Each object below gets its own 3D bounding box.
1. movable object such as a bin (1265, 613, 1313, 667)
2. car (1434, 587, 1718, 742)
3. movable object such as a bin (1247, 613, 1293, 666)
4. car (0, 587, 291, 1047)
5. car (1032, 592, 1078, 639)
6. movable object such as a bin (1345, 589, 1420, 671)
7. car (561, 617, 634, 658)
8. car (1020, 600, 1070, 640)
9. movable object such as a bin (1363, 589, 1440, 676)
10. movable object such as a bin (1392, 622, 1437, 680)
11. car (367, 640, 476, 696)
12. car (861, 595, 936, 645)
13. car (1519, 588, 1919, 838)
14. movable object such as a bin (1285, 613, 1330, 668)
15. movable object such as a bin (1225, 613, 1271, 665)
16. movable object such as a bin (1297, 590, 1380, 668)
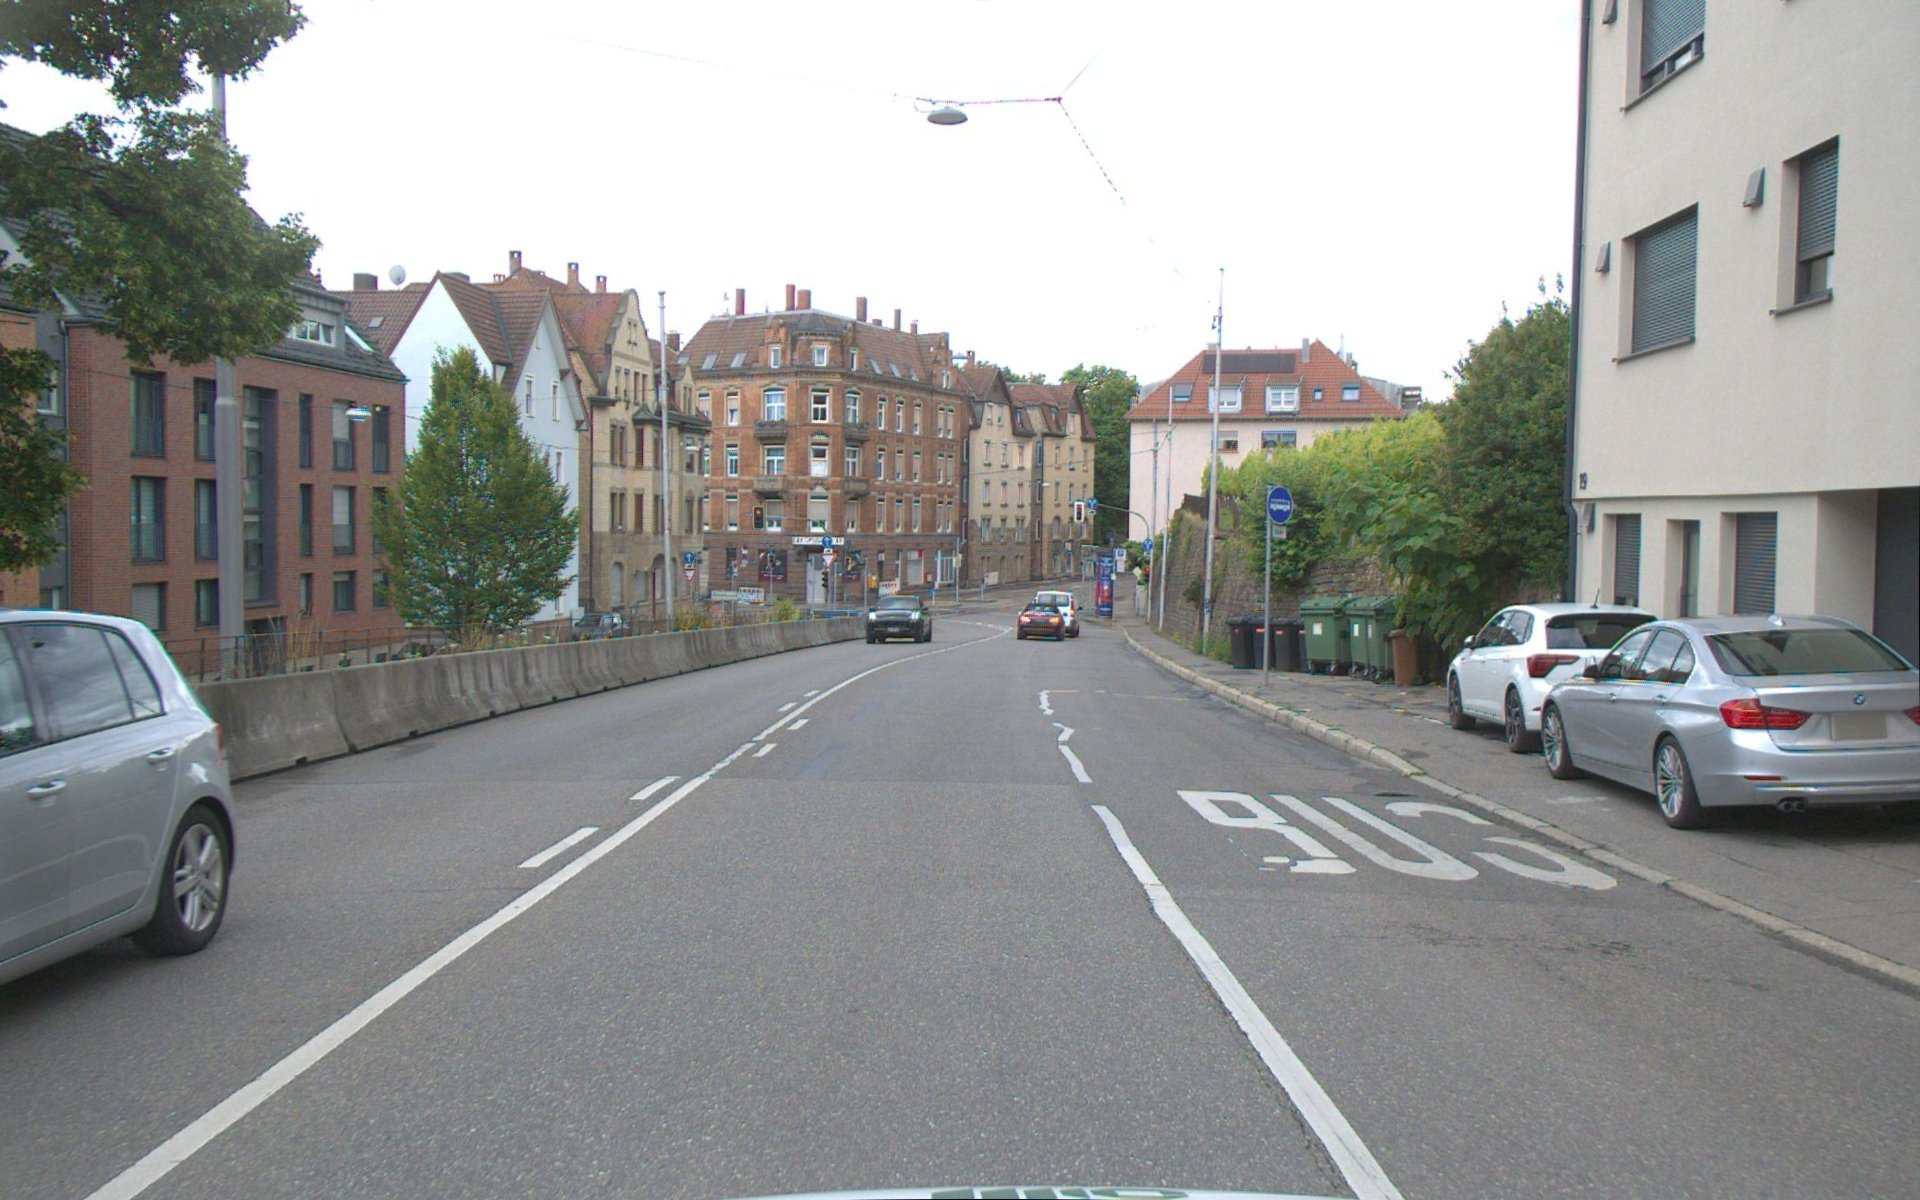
[{"bbox_3d":[6.615,0.799,33.277,0.730,1.077,0.676,0,-1,-15],"label":"movable object such as a bin"},{"bbox_3d":[6.462,0.620,17.825,1.756,1.448,4.006,-1,0,4],"label":"car"},{"bbox_3d":[6.371,0.801,34.025,0.730,1.077,0.676,0,-1,-15],"label":"movable object such as a bin"},{"bbox_3d":[-3.924,0.718,5.528,1.685,1.470,4.158,-2,0,-1],"label":"car"},{"bbox_3d":[4.128,0.662,71.183,1.869,1.917,4.002,2,0,4],"label":"car"},{"bbox_3d":[7.644,0.541,29.986,1.026,1.470,1.204,0,-1,-2],"label":"movable object such as a bin"},{"bbox_3d":[-15.402,1.570,70.488,1.756,1.536,4.004,-1,1,7],"label":"car"},{"bbox_3d":[3.329,0.756,64.149,1.778,1.455,4.002,2,0,4],"label":"car"},{"bbox_3d":[7.608,0.557,28.579,1.026,1.470,1.205,0,-1,1],"label":"movable object such as a bin"},{"bbox_3d":[7.576,0.841,27.557,0.582,0.958,0.640,0,-1,1],"label":"movable object such as a bin"},{"bbox_3d":[-17.720,2.215,54.628,1.756,1.636,4.218,-2,0,7],"label":"car"},{"bbox_3d":[-2.069,0.650,56.753,1.940,1.602,4.378,-2,0,6],"label":"car"},{"bbox_3d":[5.935,0.705,12.853,1.757,1.476,4.720,-3,0,3],"label":"car"},{"bbox_3d":[6.857,0.795,32.657,0.697,1.077,0.545,0,-1,-15],"label":"movable object such as a bin"},{"bbox_3d":[6.030,0.803,34.661,0.730,1.077,0.676,0,-1,-15],"label":"movable object such as a bin"},{"bbox_3d":[7.238,0.549,31.705,1.030,1.470,1.413,0,-1,-15],"label":"movable object such as a bin"}]
